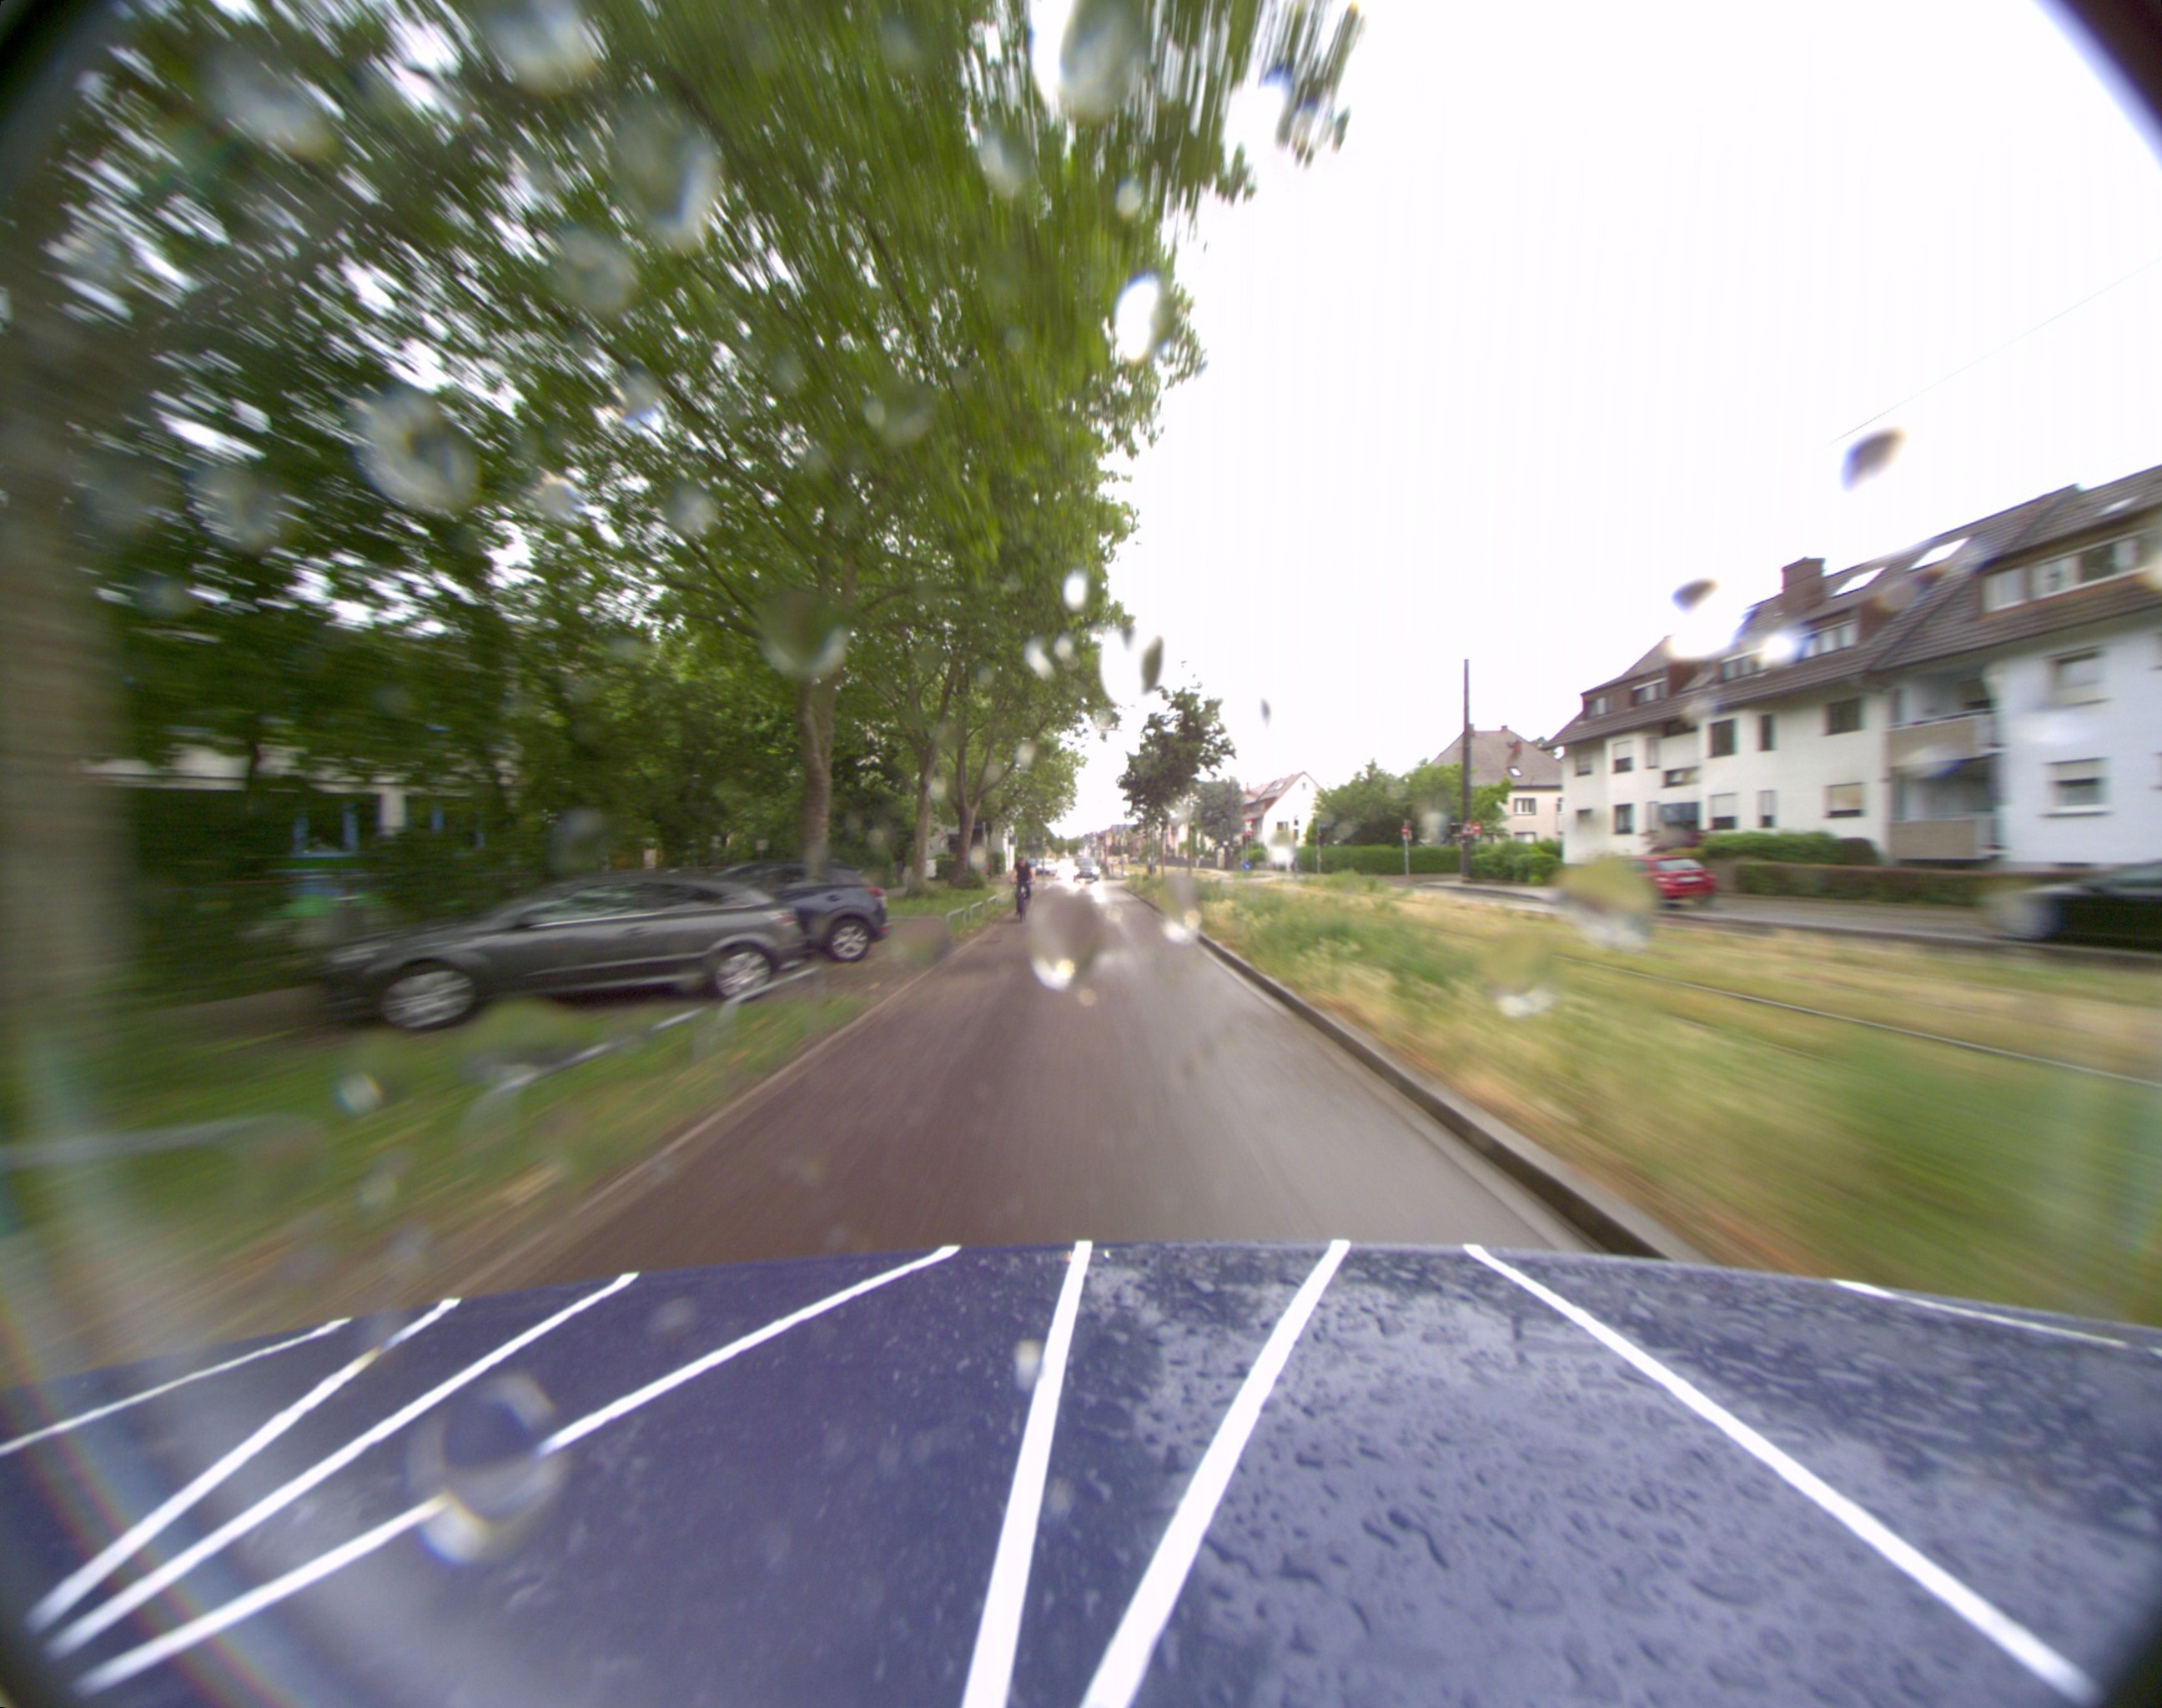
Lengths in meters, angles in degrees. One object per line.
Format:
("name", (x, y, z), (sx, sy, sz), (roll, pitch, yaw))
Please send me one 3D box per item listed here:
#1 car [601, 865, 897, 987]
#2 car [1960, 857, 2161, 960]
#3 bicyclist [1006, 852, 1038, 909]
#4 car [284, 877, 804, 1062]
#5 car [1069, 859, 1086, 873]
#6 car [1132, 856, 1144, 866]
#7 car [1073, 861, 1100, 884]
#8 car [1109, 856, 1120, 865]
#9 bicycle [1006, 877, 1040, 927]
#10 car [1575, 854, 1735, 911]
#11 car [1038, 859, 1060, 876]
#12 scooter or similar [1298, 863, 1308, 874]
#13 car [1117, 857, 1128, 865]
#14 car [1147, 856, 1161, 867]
("car", (-4.923, 0.943, 11.398), (3.811, 1.523, 1.878), (1, -1, -31))
("car", (16.580, 0.790, 11.135), (1.998, 1.402, 4.763), (-3, 0, 3))
("bicyclist", (-1.538, 0.681, 19.981), (0.675, 1.421, 0.754), (-4, 1, 0))
("car", (-5.268, 0.989, 8.021), (4.071, 1.410, 1.737), (1, 1, -35))
("car", (-0.343, 1.256, 81.981), (1.780, 1.477, 4.000), (1, 0, 0))
("car", (12.188, 1.470, 163.110), (2.000, 2.002, 3.998), (0, 0, -6))
("car", (0.390, 1.272, 52.942), (1.780, 1.477, 4.000), (1, 0, 0))
("car", (7.754, 1.540, 174.230), (1.999, 2.002, 3.998), (0, 0, -5))
("bicycle", (-1.498, 1.212, 19.834), (0.675, 1.136, 2.445), (-1, 0, 0))
("car", (16.734, 0.778, 22.425), (1.802, 1.448, 4.001), (-3, 0, 3))
("car", (-2.947, 1.250, 70.331), (1.780, 1.477, 4.000), (1, 0, 0))
("scooter or similar", (18.329, 1.207, 62.671), (0.347, 0.905, 1.258), (0, 0, -4))
("car", (10.143, 1.623, 184.092), (2.000, 2.002, 3.998), (0, 0, -6))
("car", (13.629, 1.362, 141.747), (1.999, 2.002, 3.998), (0, 0, -5))
